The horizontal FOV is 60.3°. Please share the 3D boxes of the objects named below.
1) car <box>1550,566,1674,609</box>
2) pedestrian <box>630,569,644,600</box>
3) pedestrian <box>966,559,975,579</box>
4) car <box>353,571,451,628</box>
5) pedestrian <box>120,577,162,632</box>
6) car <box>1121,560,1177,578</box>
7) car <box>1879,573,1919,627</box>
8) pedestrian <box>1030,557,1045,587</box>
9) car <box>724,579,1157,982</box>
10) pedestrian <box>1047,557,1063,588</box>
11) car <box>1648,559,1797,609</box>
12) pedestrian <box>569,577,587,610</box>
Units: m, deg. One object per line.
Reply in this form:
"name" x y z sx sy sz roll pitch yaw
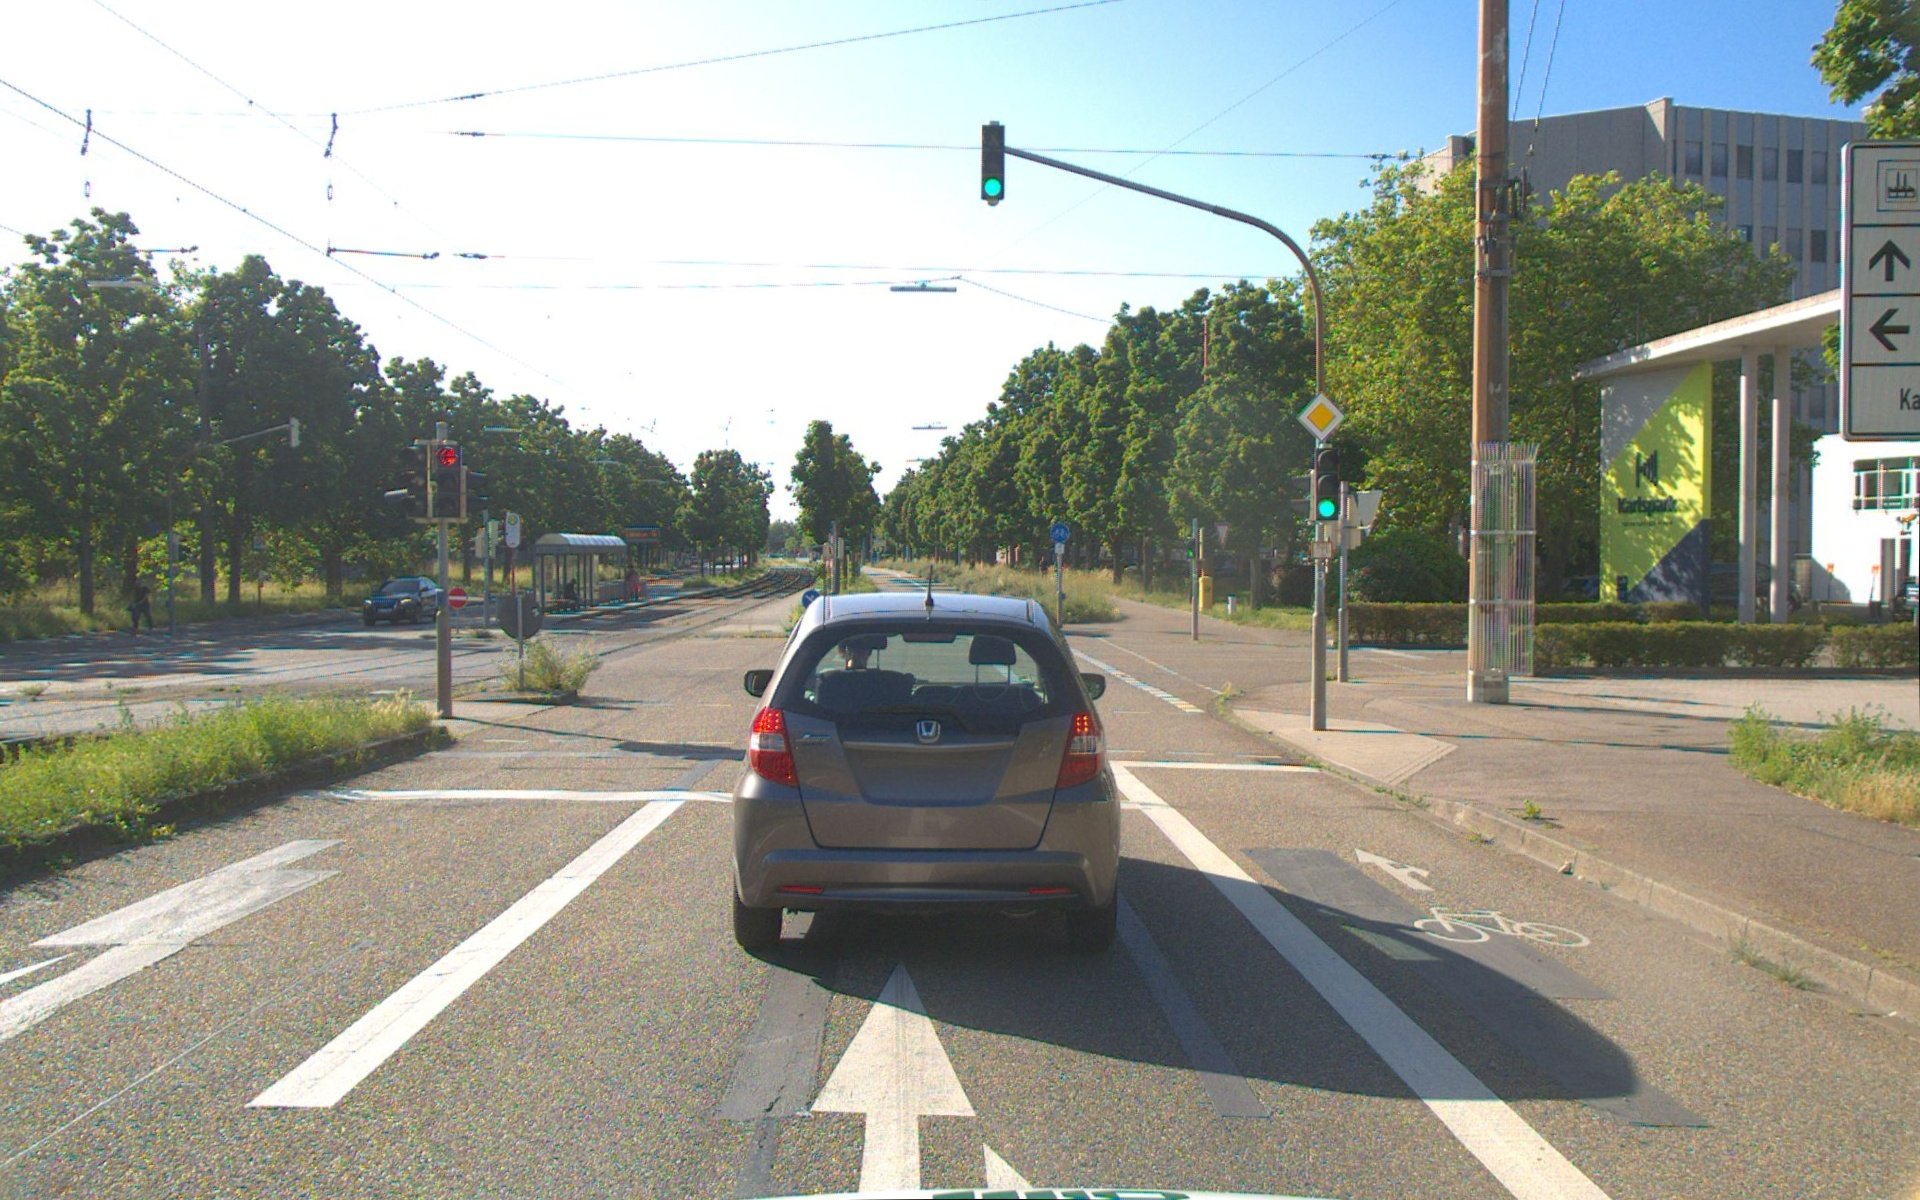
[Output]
"car" 26.638 -0.534 67.605 4.371 1.715 1.892 0 1 -7
"pedestrian" -15.583 -0.741 79.856 0.533 1.473 0.559 -1 0 -1
"pedestrian" 0.928 -2.708 145.922 0.710 1.720 0.820 0 0 -3
"car" -20.173 -0.054 59.971 2.052 1.841 4.791 -2 2 -3
"pedestrian" -26.604 0.130 53.736 0.744 1.764 0.936 0 1 27
"car" 16.504 -2.701 144.808 4.543 1.582 1.997 -1 1 -7
"car" 30.635 -0.013 50.736 3.914 1.605 1.950 0 1 -10
"pedestrian" 4.893 -1.765 104.332 0.865 1.917 0.875 0 1 -5
"car" -0.099 0.700 8.278 1.666 1.550 3.709 1 0 -1
"pedestrian" 6.008 -1.750 104.378 0.865 1.917 0.875 0 1 -5
"car" 28.003 -0.603 60.764 4.803 1.787 2.083 0 1 -16
"pedestrian" -15.092 -0.244 65.302 0.552 1.279 0.580 -2 0 -2
